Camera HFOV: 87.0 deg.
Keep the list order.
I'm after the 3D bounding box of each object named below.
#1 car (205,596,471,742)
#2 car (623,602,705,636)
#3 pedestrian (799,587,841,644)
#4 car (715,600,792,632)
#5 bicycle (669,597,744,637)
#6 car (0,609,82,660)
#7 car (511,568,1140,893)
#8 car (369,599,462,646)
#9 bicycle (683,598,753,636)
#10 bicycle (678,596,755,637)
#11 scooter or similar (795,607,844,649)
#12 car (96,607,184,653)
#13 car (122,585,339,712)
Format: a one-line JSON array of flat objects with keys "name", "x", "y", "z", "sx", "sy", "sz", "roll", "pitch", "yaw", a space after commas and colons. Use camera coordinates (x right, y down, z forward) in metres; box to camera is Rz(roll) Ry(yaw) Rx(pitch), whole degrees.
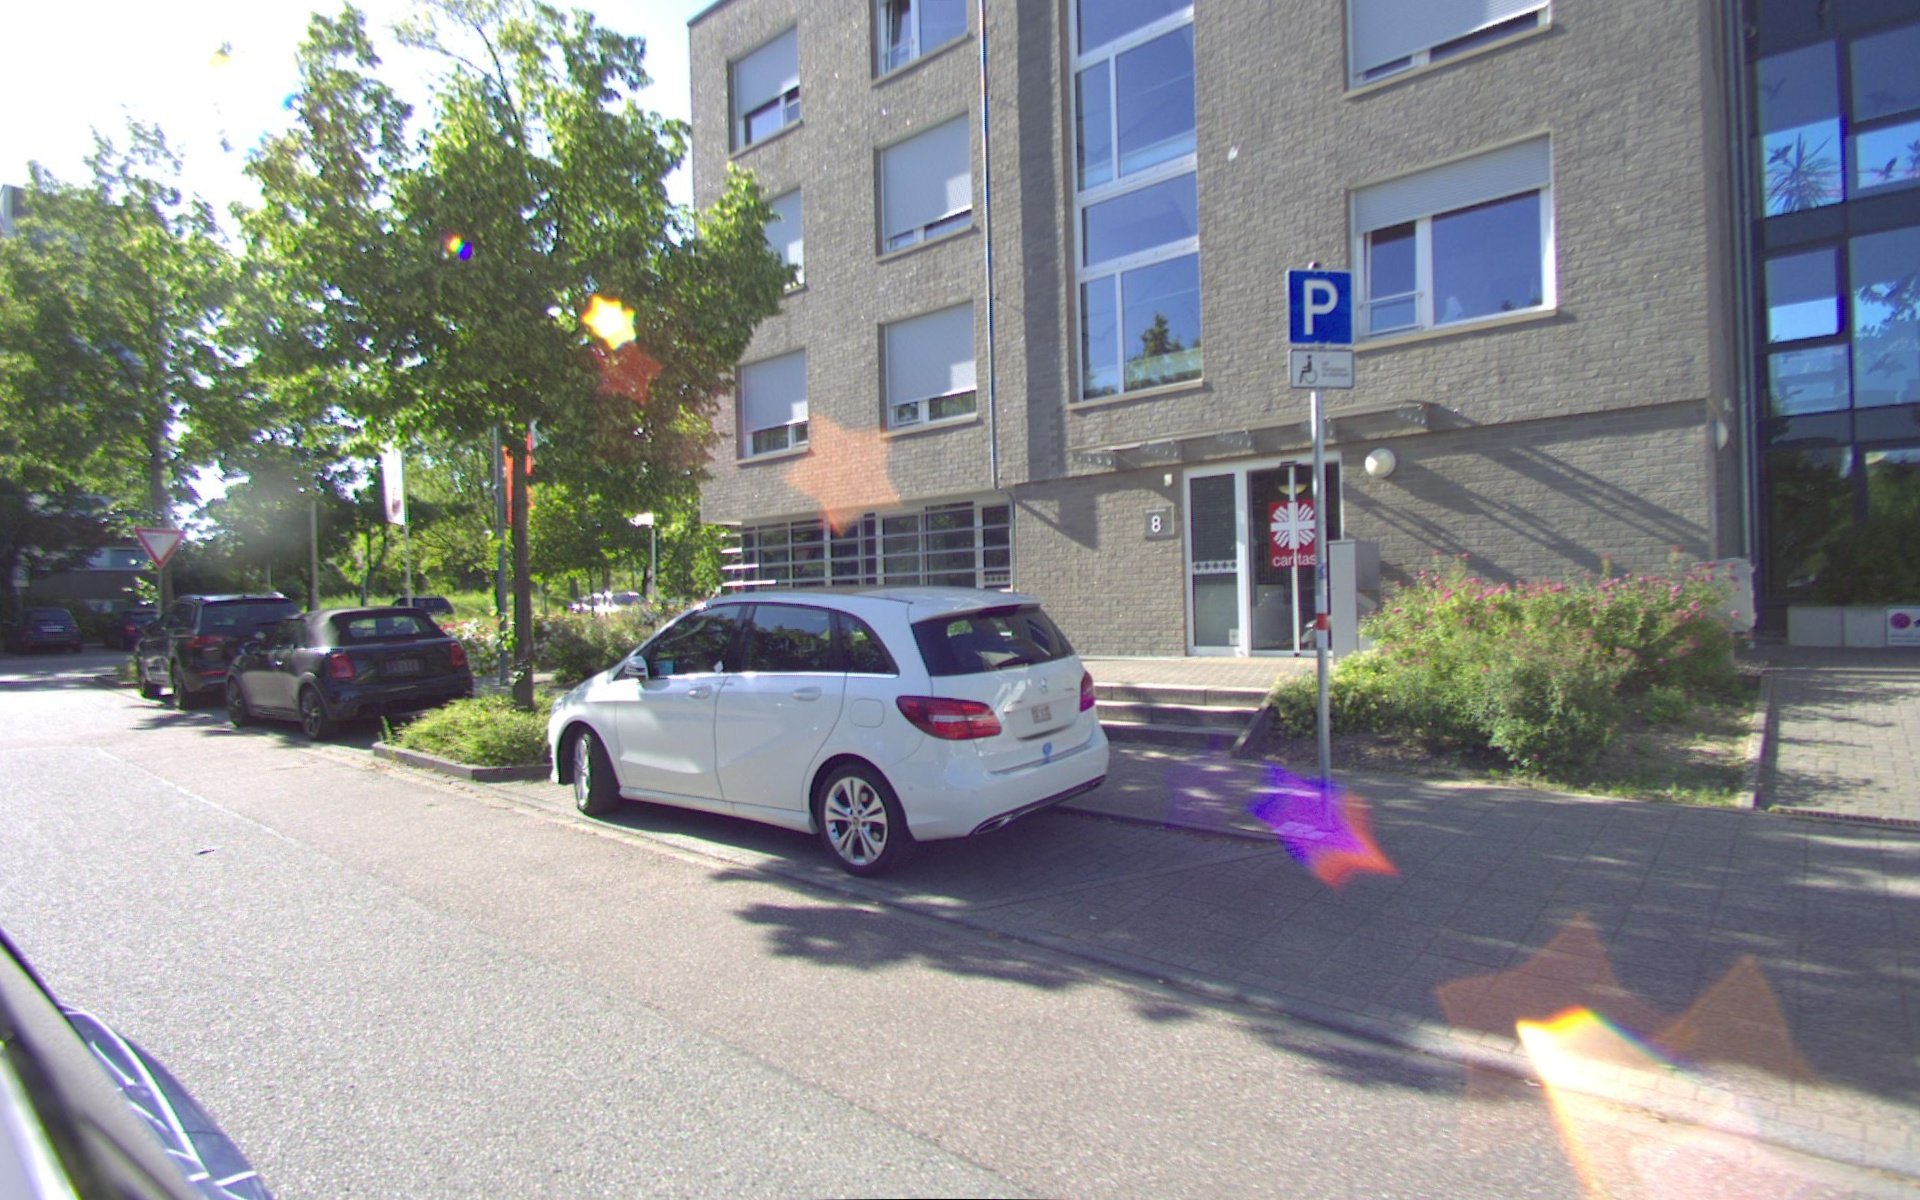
[{"name": "car", "x": -7.685, "y": 0.754, "z": 12.385, "sx": 3.785, "sy": 1.515, "sz": 1.563, "roll": -1, "pitch": -1, "yaw": 38}, {"name": "car", "x": -15.120, "y": 0.957, "z": 51.590, "sx": 4.451, "sy": 1.557, "sz": 1.794, "roll": -3, "pitch": -1, "yaw": 39}, {"name": "pedestrian", "x": -3.421, "y": 0.371, "z": 24.750, "sx": 0.670, "sy": 1.371, "sz": 0.735, "roll": -1, "pitch": 0, "yaw": 42}, {"name": "car", "x": -11.504, "y": 0.859, "z": 56.330, "sx": 4.436, "sy": 1.605, "sz": 1.813, "roll": 1, "pitch": 1, "yaw": 39}, {"name": "bicycle", "x": -7.025, "y": 0.464, "z": 28.140, "sx": 0.438, "sy": 1.055, "sz": 2.163, "roll": -3, "pitch": -1, "yaw": 41}, {"name": "car", "x": -30.856, "y": 1.092, "z": 33.772, "sx": 3.816, "sy": 1.510, "sz": 1.680, "roll": 1, "pitch": 1, "yaw": 38}, {"name": "car", "x": -1.108, "y": 0.661, "z": 6.785, "sx": 4.280, "sy": 1.544, "sz": 1.643, "roll": -2, "pitch": -1, "yaw": 38}, {"name": "car", "x": -22.912, "y": 0.894, "z": 42.501, "sx": 4.600, "sy": 1.792, "sz": 1.973, "roll": 0, "pitch": 1, "yaw": 41}, {"name": "bicycle", "x": -7.242, "y": 0.504, "z": 30.334, "sx": 0.438, "sy": 1.055, "sz": 2.163, "roll": -3, "pitch": -1, "yaw": 41}, {"name": "bicycle", "x": -6.665, "y": 0.436, "z": 27.799, "sx": 0.438, "sy": 1.055, "sz": 2.163, "roll": -3, "pitch": -1, "yaw": 41}, {"name": "scooter or similar", "x": -3.425, "y": 0.684, "z": 24.722, "sx": 0.806, "sy": 0.961, "sz": 0.856, "roll": -3, "pitch": -1, "yaw": 42}, {"name": "car", "x": -29.104, "y": 1.017, "z": 35.884, "sx": 3.998, "sy": 1.397, "sz": 1.797, "roll": 2, "pitch": 2, "yaw": 41}, {"name": "car", "x": -11.674, "y": 0.658, "z": 16.083, "sx": 4.338, "sy": 1.631, "sz": 1.867, "roll": 0, "pitch": 4, "yaw": 43}]
